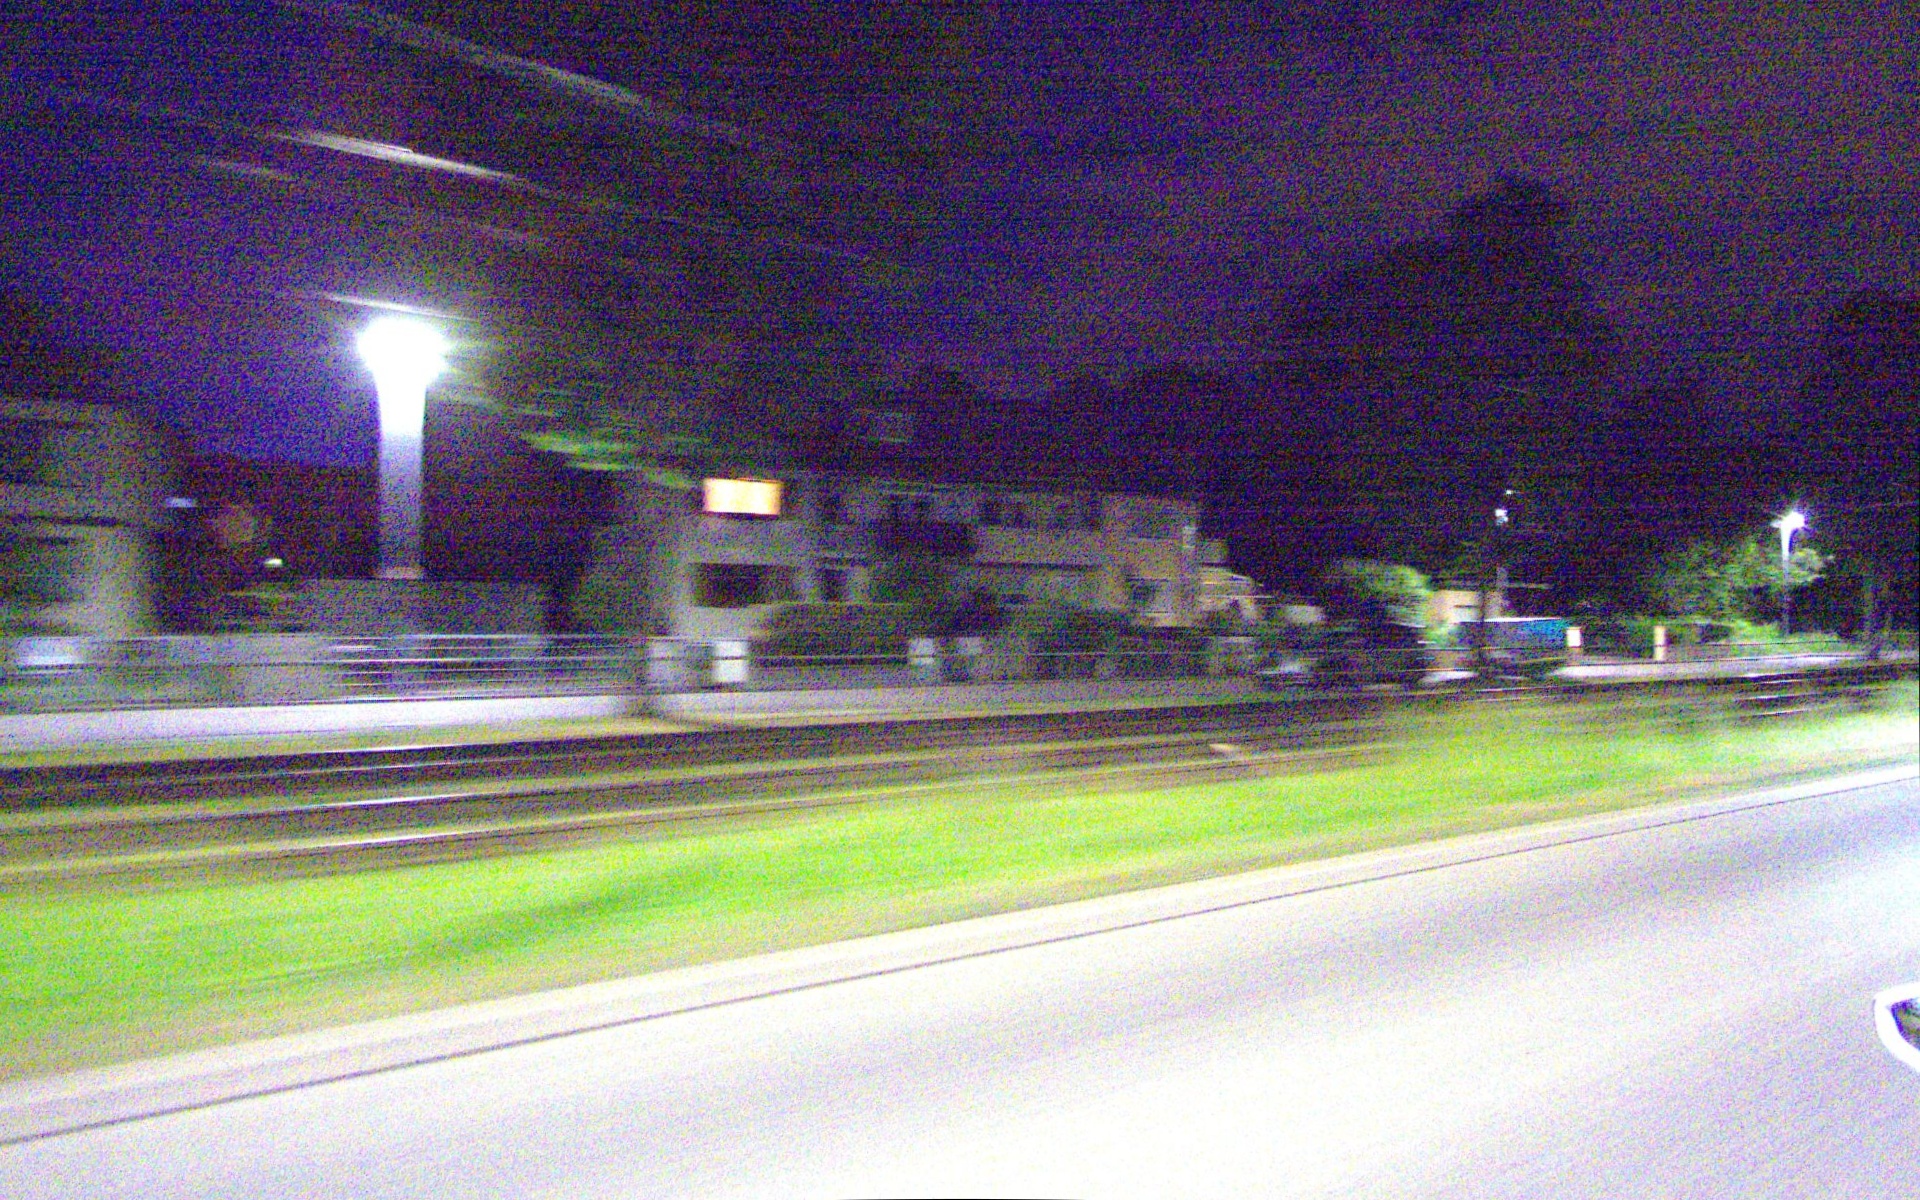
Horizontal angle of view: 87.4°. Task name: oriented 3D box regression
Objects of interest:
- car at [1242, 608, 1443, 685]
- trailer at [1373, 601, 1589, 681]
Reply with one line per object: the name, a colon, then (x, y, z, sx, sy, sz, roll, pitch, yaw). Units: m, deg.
car: (8.605, 1.070, 22.533, 4.479, 1.597, 1.710, 2, -4, -29)
trailer: (13.026, 1.023, 25.024, 5.605, 1.804, 2.016, 1, -3, -29)
